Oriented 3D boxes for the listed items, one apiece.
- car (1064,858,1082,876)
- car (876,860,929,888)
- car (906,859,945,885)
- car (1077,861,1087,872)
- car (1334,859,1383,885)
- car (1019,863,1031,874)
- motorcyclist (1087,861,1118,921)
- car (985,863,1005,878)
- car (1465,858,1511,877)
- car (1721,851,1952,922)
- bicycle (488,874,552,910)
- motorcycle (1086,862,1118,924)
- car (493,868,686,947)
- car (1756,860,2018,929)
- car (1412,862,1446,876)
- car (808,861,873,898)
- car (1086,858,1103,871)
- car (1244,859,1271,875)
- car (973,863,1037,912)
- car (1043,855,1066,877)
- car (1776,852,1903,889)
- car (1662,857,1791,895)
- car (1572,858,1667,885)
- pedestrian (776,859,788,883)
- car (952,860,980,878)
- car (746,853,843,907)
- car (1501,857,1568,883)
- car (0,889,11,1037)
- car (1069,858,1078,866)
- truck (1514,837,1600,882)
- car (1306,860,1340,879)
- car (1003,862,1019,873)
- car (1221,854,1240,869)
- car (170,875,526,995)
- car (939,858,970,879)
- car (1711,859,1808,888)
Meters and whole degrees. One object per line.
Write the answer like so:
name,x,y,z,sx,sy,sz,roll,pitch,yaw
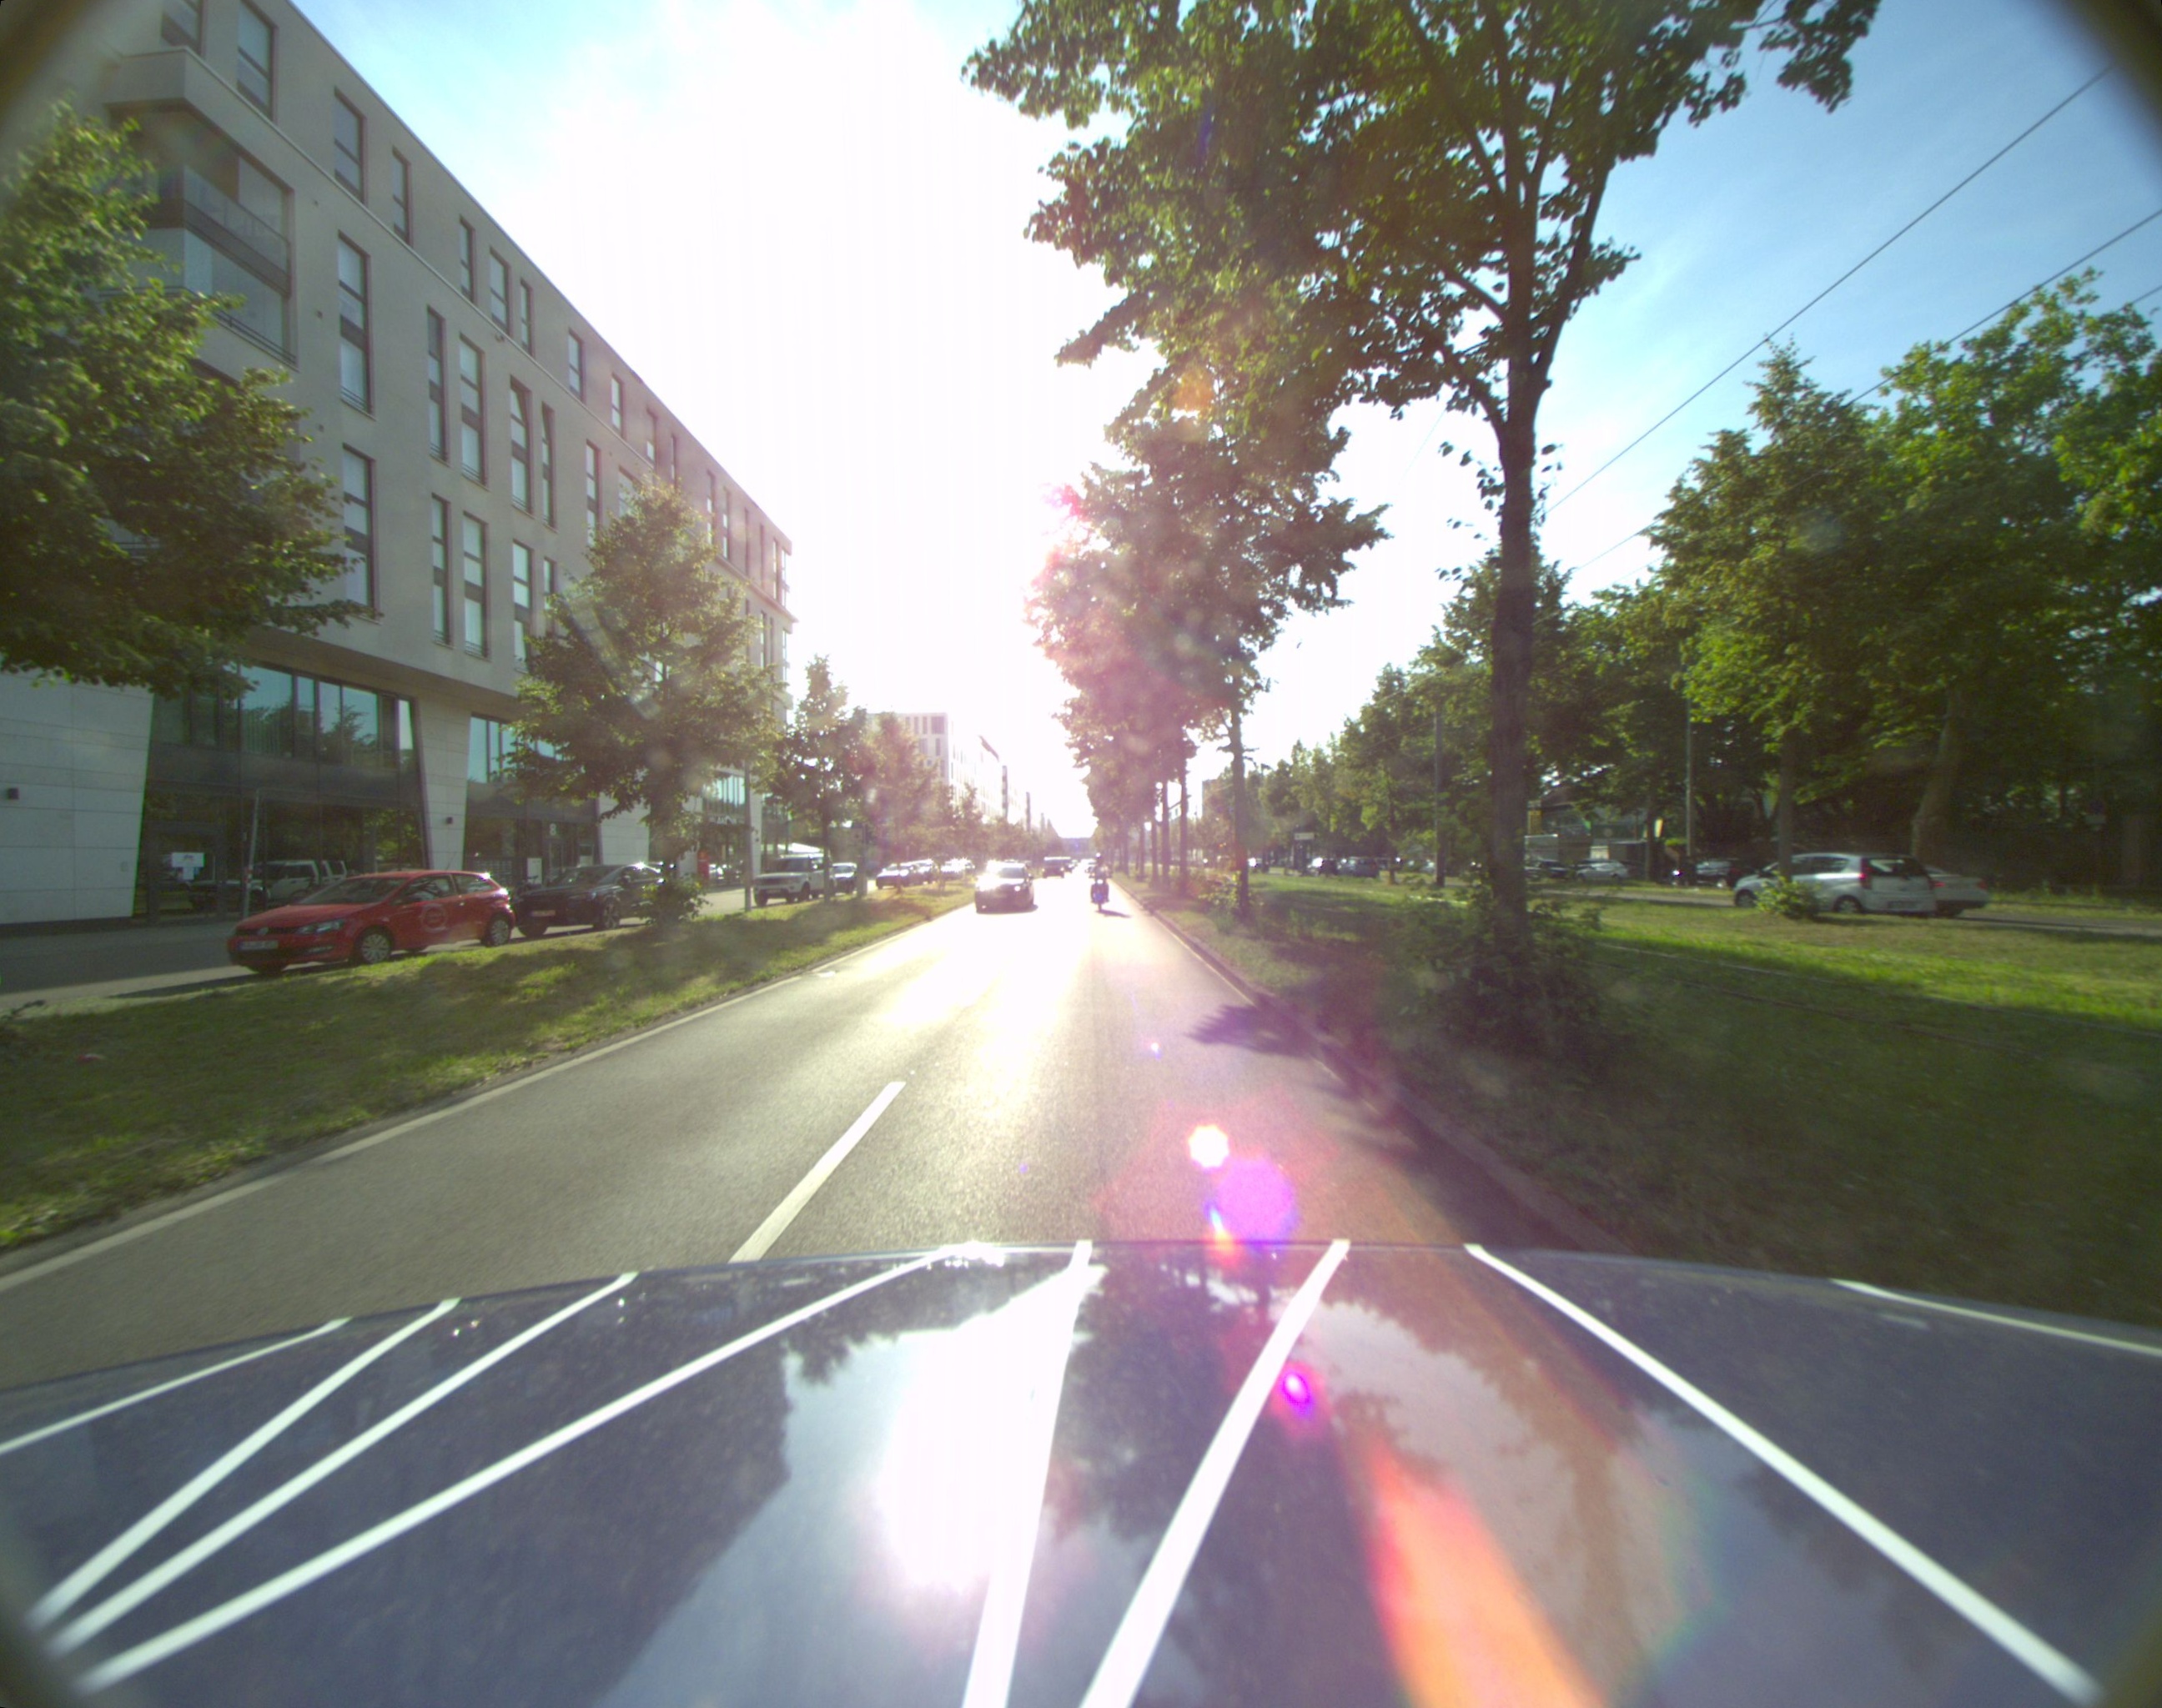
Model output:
car,-0.937,1.515,90.278,1.909,2.002,4.000,-3,0,1
car,-10.908,1.196,46.849,1.764,1.479,4.920,-3,0,4
car,-10.809,1.229,53.087,1.764,1.588,4.328,-3,0,0
car,0.227,2.252,138.962,1.740,1.777,3.894,-3,0,1
car,17.796,1.123,48.879,1.614,1.523,4.132,-3,0,1
car,-10.082,2.577,137.349,1.740,1.777,3.893,-3,0,0
motorcyclist,0.614,1.064,22.279,0.814,1.699,0.843,-3,1,-1
car,-10.317,1.973,91.568,1.840,1.521,4.328,-3,0,0
car,29.475,0.951,55.192,1.586,1.269,3.961,-3,0,7
car,16.958,0.663,17.328,1.587,1.384,3.696,-3,0,1
bicycle,-18.268,1.226,24.804,0.512,1.064,2.077,1,0,1
motorcycle,0.593,1.084,22.378,0.798,1.659,2.634,-3,0,0
car,-11.371,1.151,18.034,1.873,1.482,4.413,-3,0,-4
car,20.477,0.935,19.689,1.686,1.467,4.813,1,0,1
car,29.928,1.263,65.473,1.301,1.101,3.773,-3,0,3
car,-11.206,1.145,35.670,1.765,1.479,4.209,-3,0,-2
car,1.553,1.191,89.284,1.756,1.427,4.034,-3,0,-2
car,18.140,1.324,78.270,1.686,1.427,4.671,-3,0,1
car,-2.539,1.096,26.121,1.698,1.416,4.039,-3,0,0
car,-2.396,1.057,68.952,1.803,1.880,4.821,-3,0,0
car,37.240,0.761,37.474,1.835,1.602,4.475,-3,0,2
car,27.788,0.911,32.948,1.835,1.423,4.475,-3,0,2
car,28.552,0.906,40.510,1.680,1.236,4.900,-3,0,2
pedestrian,-20.086,1.114,51.098,0.499,1.591,0.572,-3,1,0
car,-10.495,1.331,69.802,1.840,1.521,4.328,-3,0,0
car,-11.102,0.950,29.839,1.899,1.863,4.844,-3,0,0
car,27.636,0.942,46.430,1.675,1.423,3.959,-3,0,0
car,-11.351,1.098,5.019,1.732,1.424,4.722,-3,0,2
car,-1.636,1.771,163.758,1.840,1.521,4.328,-3,0,0
truck,40.408,0.391,64.854,2.895,3.495,7.947,-3,0,5
car,20.974,1.308,65.991,1.686,1.427,4.035,-3,0,1
car,-10.181,1.940,110.626,1.840,1.521,4.328,-3,0,0
car,20.717,1.006,105.386,1.686,1.853,4.218,-3,0,0
car,-11.401,1.148,12.326,1.733,1.424,4.114,-3,0,0
car,-10.536,1.191,63.587,1.840,1.521,4.328,-3,0,0
car,37.565,1.054,42.232,1.701,1.367,4.386,-3,0,4
